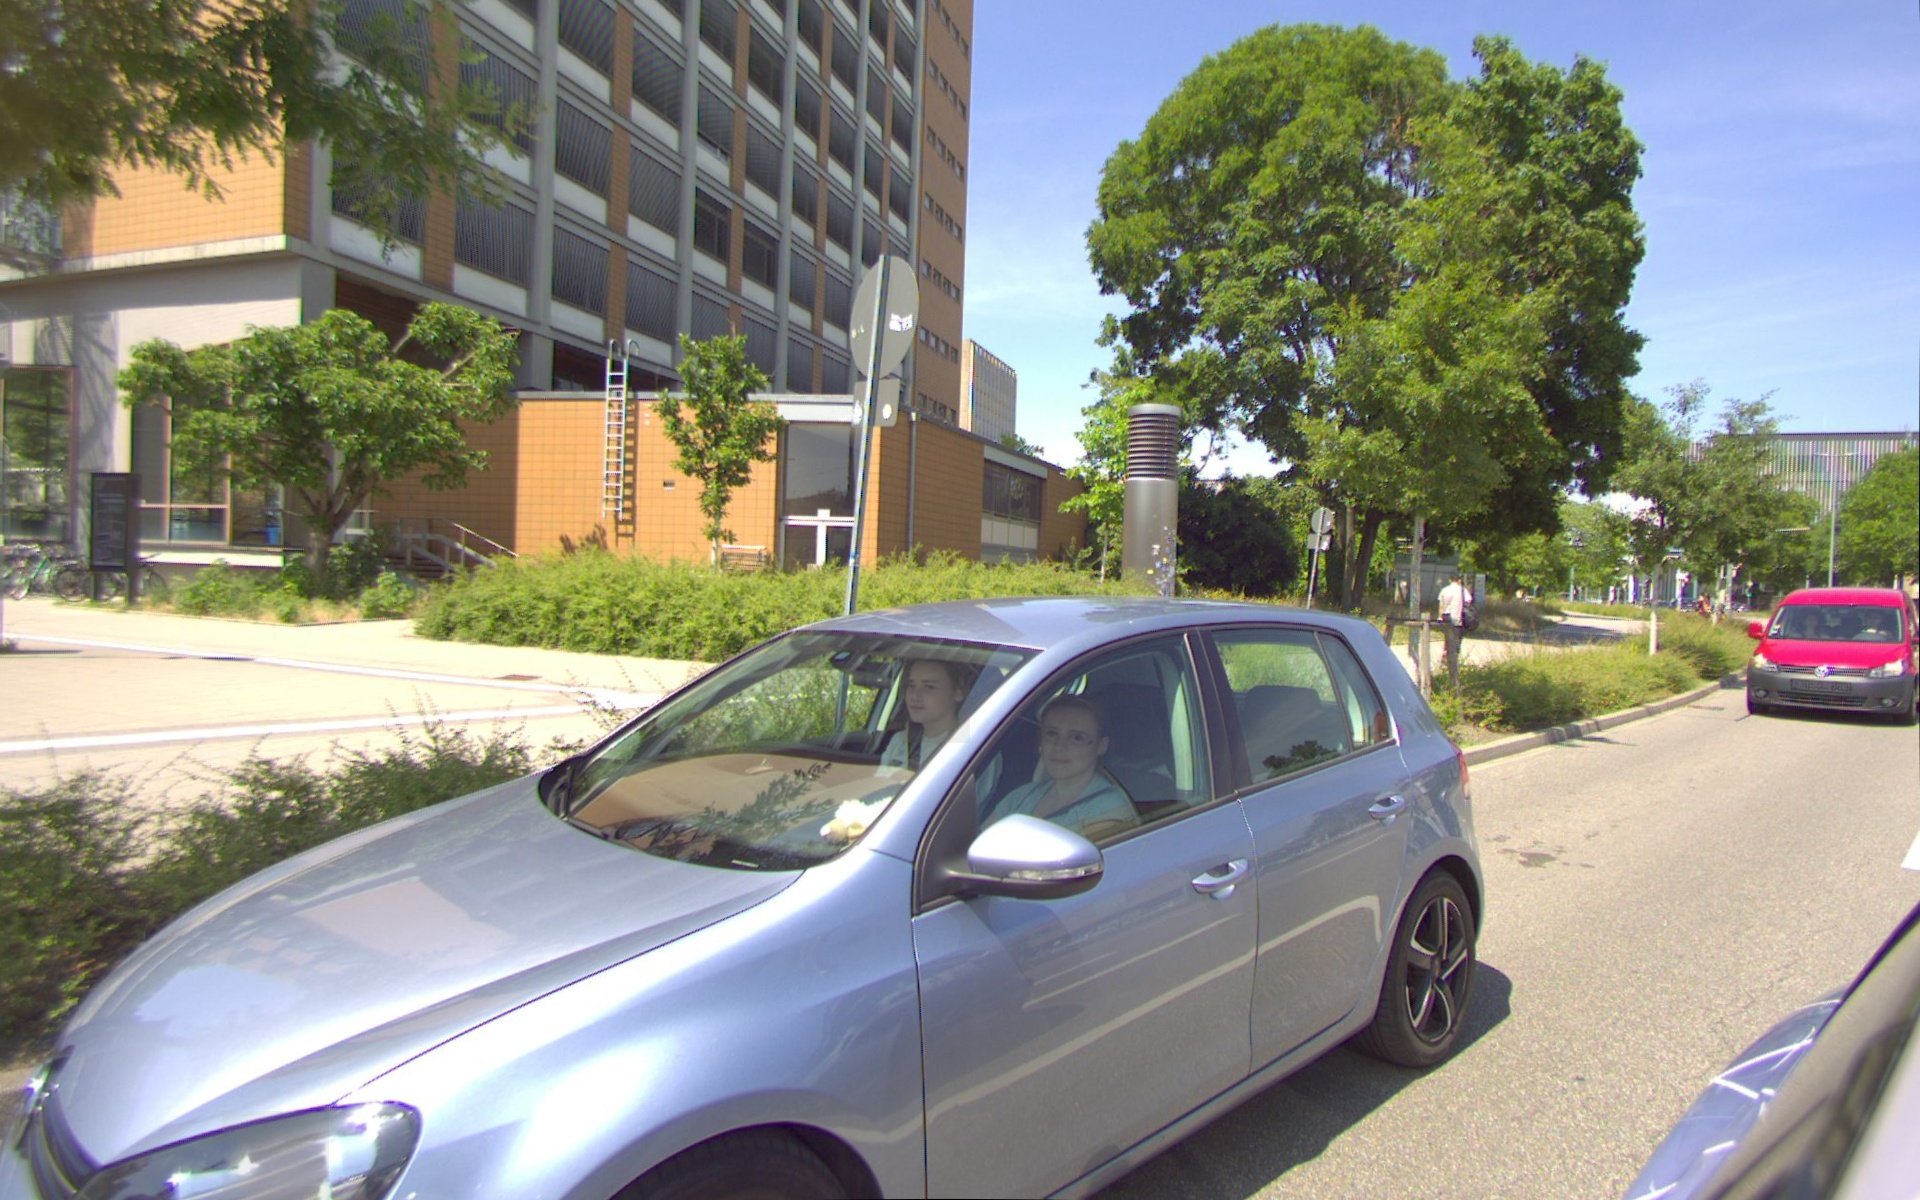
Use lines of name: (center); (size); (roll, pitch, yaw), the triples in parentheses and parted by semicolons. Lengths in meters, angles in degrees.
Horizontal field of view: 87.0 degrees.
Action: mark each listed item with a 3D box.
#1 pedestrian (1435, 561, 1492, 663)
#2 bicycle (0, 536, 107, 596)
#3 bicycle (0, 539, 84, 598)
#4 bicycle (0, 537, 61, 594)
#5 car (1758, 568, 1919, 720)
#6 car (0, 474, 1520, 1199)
pedestrian: (9.315, 0.208, 18.731); (0.603, 1.820, 0.728); (1, 1, -40)
bicycle: (-19.579, -0.704, 21.510); (0.629, 1.233, 2.201); (0, 0, 22)
bicycle: (-20.310, -0.661, 21.770); (0.629, 1.233, 2.201); (0, 0, 22)
bicycle: (-21.066, -0.740, 22.027); (0.629, 1.233, 2.201); (0, 0, 22)
car: (12.999, 0.538, 14.623); (4.469, 1.882, 1.653); (0, 1, -43)
car: (-0.018, 0.622, 2.887); (3.935, 1.477, 1.653); (1, 0, -42)
